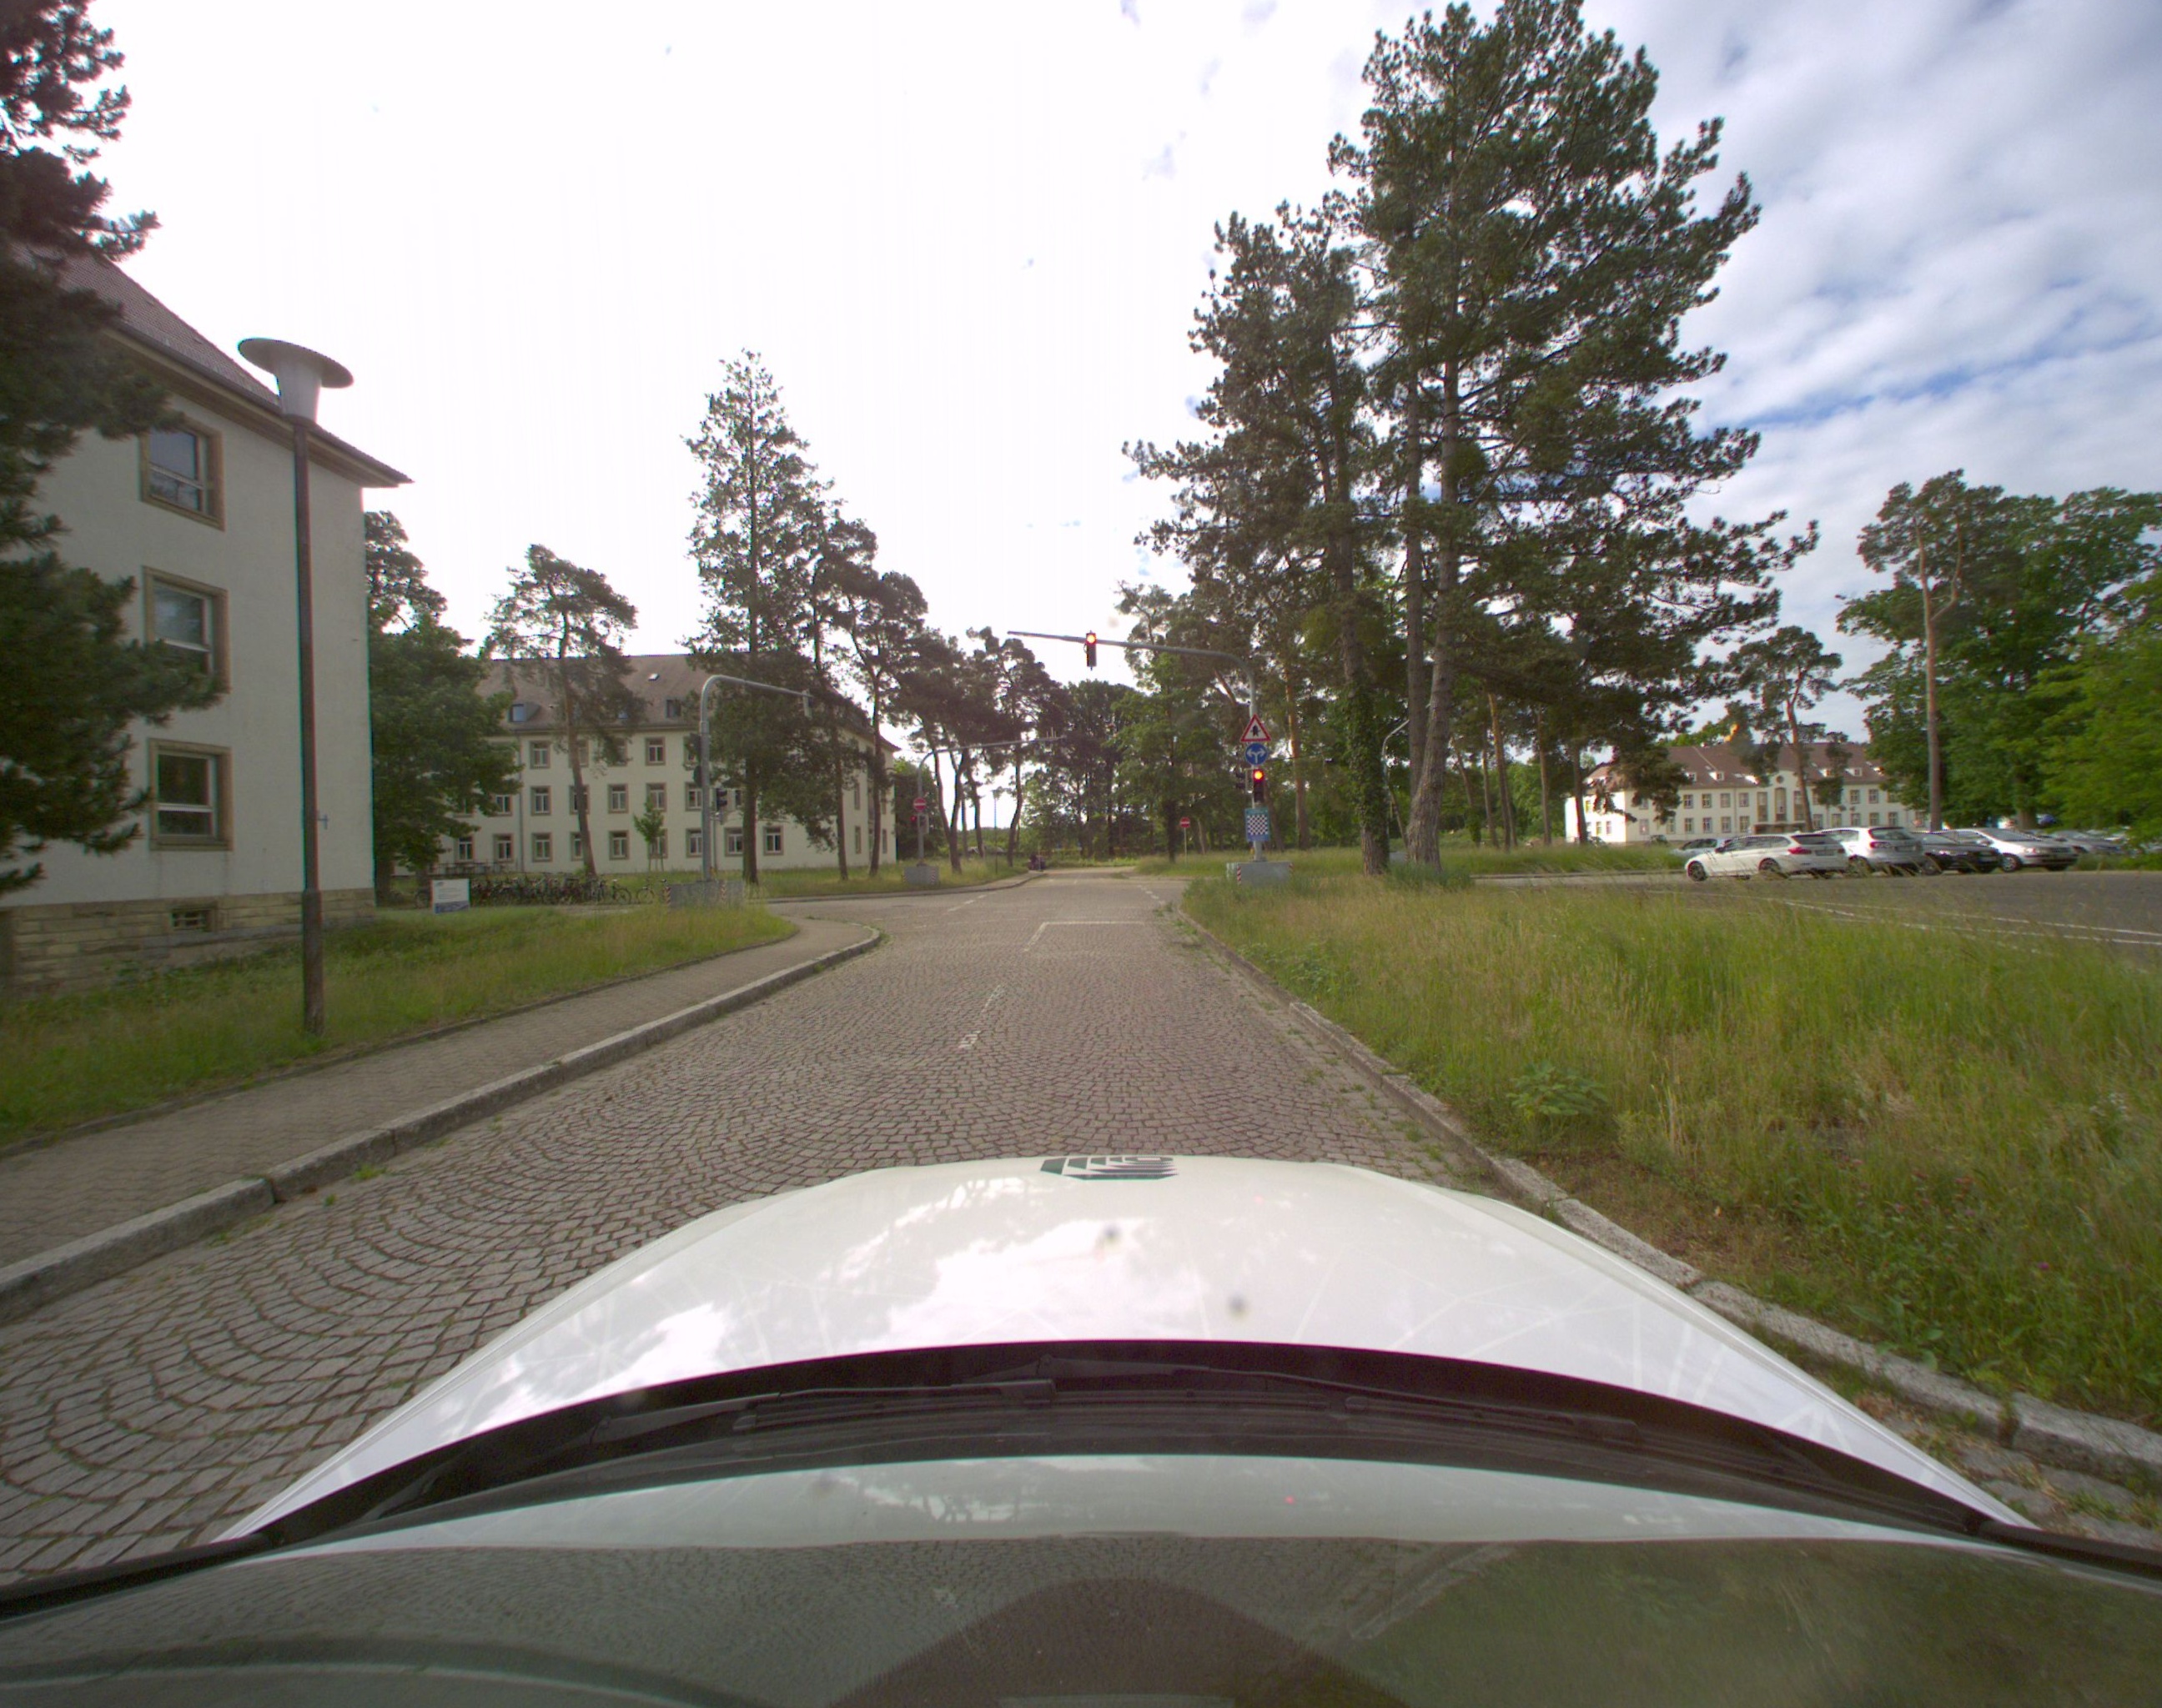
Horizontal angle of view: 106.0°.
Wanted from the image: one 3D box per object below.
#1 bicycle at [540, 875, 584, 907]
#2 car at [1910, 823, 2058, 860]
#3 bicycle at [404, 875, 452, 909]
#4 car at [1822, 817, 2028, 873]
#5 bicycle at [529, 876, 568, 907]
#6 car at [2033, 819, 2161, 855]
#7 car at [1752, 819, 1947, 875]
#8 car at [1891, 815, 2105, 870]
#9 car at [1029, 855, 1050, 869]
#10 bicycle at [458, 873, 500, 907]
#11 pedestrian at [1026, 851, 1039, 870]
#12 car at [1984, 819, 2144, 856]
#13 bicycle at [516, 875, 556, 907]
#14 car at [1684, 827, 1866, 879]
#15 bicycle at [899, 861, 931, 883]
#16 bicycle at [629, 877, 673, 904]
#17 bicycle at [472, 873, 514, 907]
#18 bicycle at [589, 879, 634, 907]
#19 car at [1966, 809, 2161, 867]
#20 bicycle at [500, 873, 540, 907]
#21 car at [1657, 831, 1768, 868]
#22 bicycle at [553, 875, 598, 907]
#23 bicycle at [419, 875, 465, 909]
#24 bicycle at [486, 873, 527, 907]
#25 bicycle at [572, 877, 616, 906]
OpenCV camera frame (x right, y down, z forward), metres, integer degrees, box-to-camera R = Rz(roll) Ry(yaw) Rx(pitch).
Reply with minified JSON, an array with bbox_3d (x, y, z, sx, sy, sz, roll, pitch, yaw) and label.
[{"bbox_3d":[-21.077,1.475,33.100,0.526,1.178,1.930,-2,0,-1],"label":"bicycle"},{"bbox_3d":[41.033,-0.551,37.185,1.748,1.524,4.443,-2,0,-2],"label":"car"},{"bbox_3d":[-26.456,1.515,33.013,0.447,1.283,1.827,-2,0,-1],"label":"bicycle"},{"bbox_3d":[26.645,-0.267,25.981,1.862,1.577,4.443,-2,0,-3],"label":"car"},{"bbox_3d":[-21.590,1.491,33.040,0.447,1.178,1.695,-2,0,-1],"label":"bicycle"},{"bbox_3d":[47.016,-0.753,37.199,1.748,1.524,4.443,-2,0,-2],"label":"car"},{"bbox_3d":[24.044,-0.198,25.762,1.862,1.577,4.443,-2,0,-3],"label":"car"},{"bbox_3d":[29.485,-0.350,26.438,1.862,1.577,4.443,-2,0,-3],"label":"car"},{"bbox_3d":[-4.530,0.826,89.027,1.986,1.508,4.002,0,0,2],"label":"car"},{"bbox_3d":[-24.372,1.446,33.000,0.447,1.283,1.695,-2,0,-1],"label":"bicycle"},{"bbox_3d":[-5.042,0.645,84.328,1.206,1.890,0.748,-2,0,2],"label":"pedestrian"},{"bbox_3d":[44.069,-0.707,36.683,1.748,1.524,4.443,-2,0,-2],"label":"car"},{"bbox_3d":[-22.076,1.481,33.016,0.447,1.178,1.695,-2,0,-1],"label":"bicycle"},{"bbox_3d":[21.469,0.001,25.486,1.748,1.415,4.443,-2,-1,-2],"label":"car"},{"bbox_3d":[-7.974,0.849,39.160,1.457,0.996,0.451,-2,0,-6],"label":"bicycle"},{"bbox_3d":[-16.750,1.409,31.735,1.454,0.996,0.452,-2,0,1],"label":"bicycle"},{"bbox_3d":[-23.809,1.442,33.027,0.447,1.283,1.695,-2,0,-1],"label":"bicycle"},{"bbox_3d":[-18.274,1.512,31.703,1.454,0.996,0.452,-2,0,1],"label":"bicycle"},{"bbox_3d":[32.055,-0.489,26.378,1.862,1.686,4.443,-2,0,-3],"label":"car"},{"bbox_3d":[-22.789,1.435,33.118,0.447,1.283,1.695,-2,0,-1],"label":"bicycle"},{"bbox_3d":[28.835,-0.197,37.370,1.746,1.524,4.450,-2,0,2],"label":"car"},{"bbox_3d":[-20.493,1.471,33.058,0.573,1.178,1.953,-2,0,-1],"label":"bicycle"},{"bbox_3d":[-25.990,1.545,33.149,0.441,1.283,1.784,-2,0,-1],"label":"bicycle"},{"bbox_3d":[-23.294,1.438,33.074,0.447,1.283,1.695,-2,0,-1],"label":"bicycle"},{"bbox_3d":[-19.798,1.501,33.157,0.573,1.078,1.996,-2,0,-1],"label":"bicycle"}]
